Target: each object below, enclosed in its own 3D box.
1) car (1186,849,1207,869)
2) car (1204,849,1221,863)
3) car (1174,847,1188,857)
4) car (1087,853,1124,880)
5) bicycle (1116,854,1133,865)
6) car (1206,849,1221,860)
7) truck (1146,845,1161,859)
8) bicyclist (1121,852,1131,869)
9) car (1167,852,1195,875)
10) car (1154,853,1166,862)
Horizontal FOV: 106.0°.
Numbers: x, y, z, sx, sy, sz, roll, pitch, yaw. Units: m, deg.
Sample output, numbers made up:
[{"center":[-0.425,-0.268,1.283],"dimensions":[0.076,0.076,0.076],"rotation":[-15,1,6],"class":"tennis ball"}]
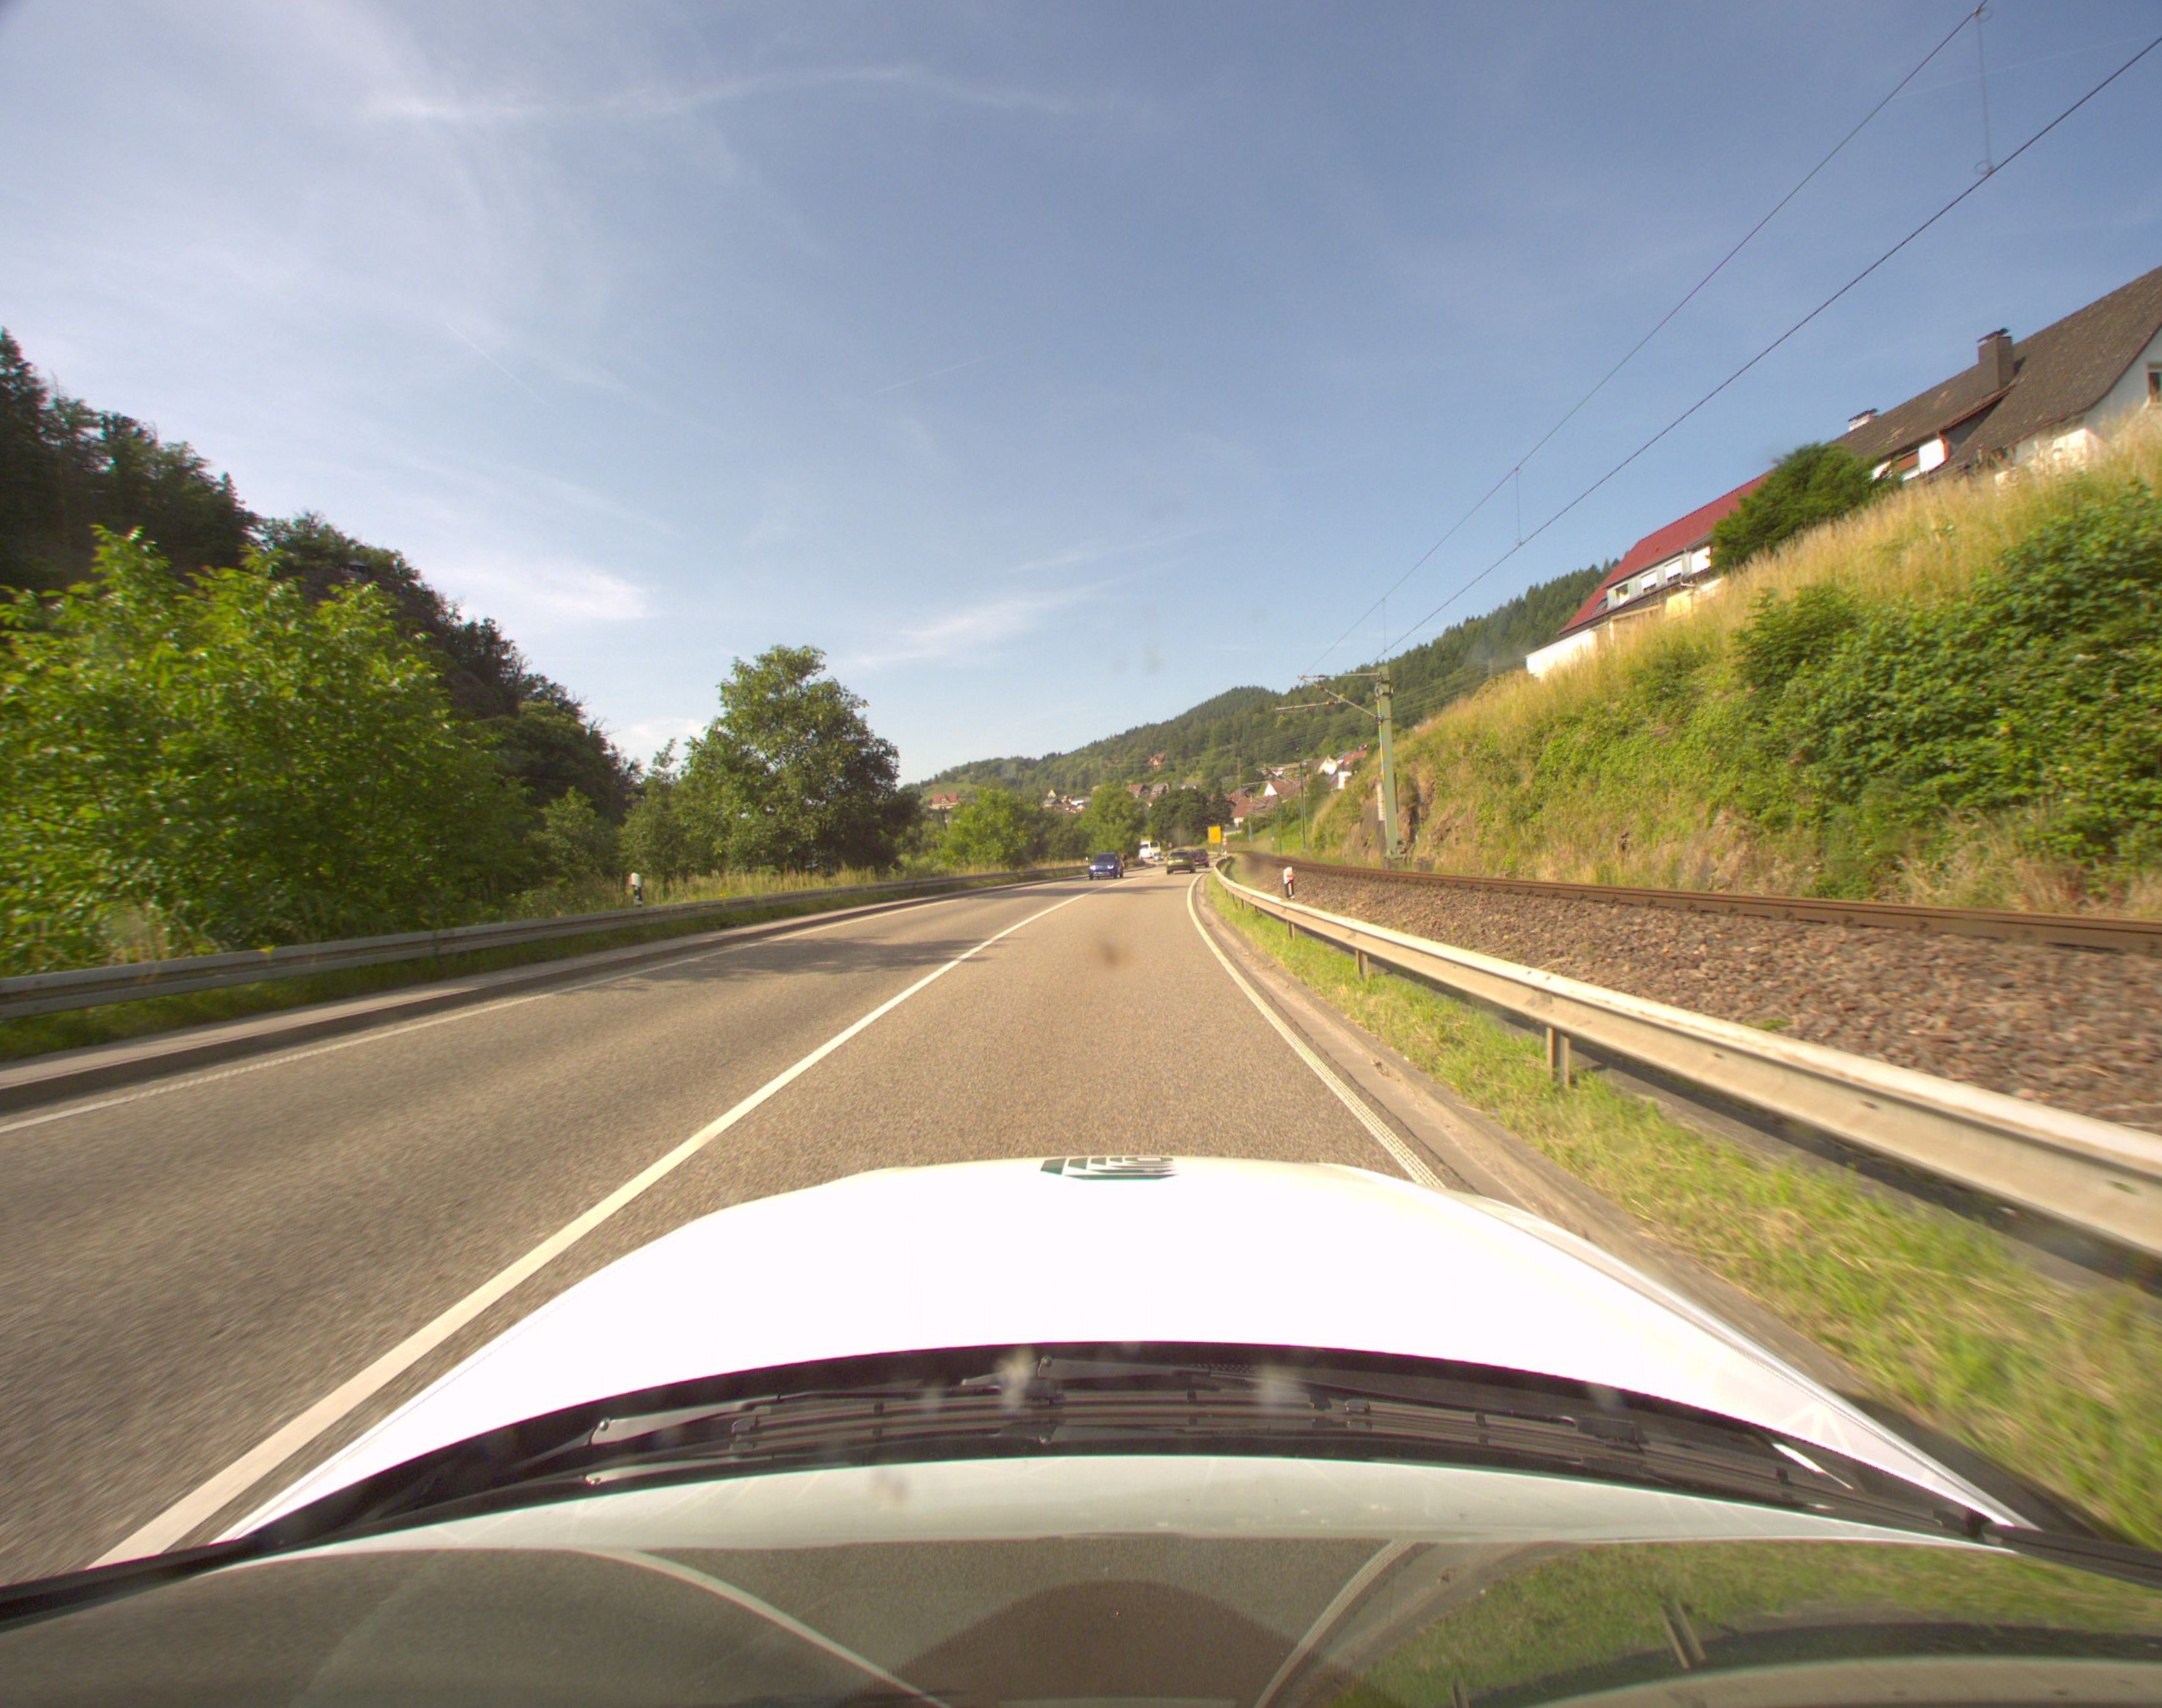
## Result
[{"center":[9.529,0.392,67.596],"dimensions":[1.658,1.559,4.008],"rotation":[-1,0,7],"class":"car"},{"center":[15.647,0.238,96.653],"dimensions":[1.869,1.686,4.011],"rotation":[-1,0,9],"class":"car"},{"center":[18.505,-0.385,150.563],"dimensions":[2.057,1.811,3.999],"rotation":[-2,1,0],"class":"car"},{"center":[1.536,0.736,49.947],"dimensions":[1.741,1.567,4.010],"rotation":[-1,0,9],"class":"car"},{"center":[4.080,0.504,76.942],"dimensions":[0.560,1.045,2.211],"rotation":[-2,1,-25],"class":"bicycle"},{"center":[19.563,0.096,120.689],"dimensions":[1.840,1.526,3.667],"rotation":[-2,1,4],"class":"car"},{"center":[16.378,-0.545,184.181],"dimensions":[2.704,3.084,6.104],"rotation":[-1,0,-2],"class":"truck"},{"center":[4.237,0.610,76.790],"dimensions":[0.560,1.586,1.027],"rotation":[-2,1,-24],"class":"bicyclist"},{"center":[6.558,0.606,53.760],"dimensions":[1.706,1.455,4.006],"rotation":[-2,0,5],"class":"car"},{"center":[13.833,0.551,142.690],"dimensions":[1.568,1.479,4.012],"rotation":[2,1,11],"class":"car"}]
